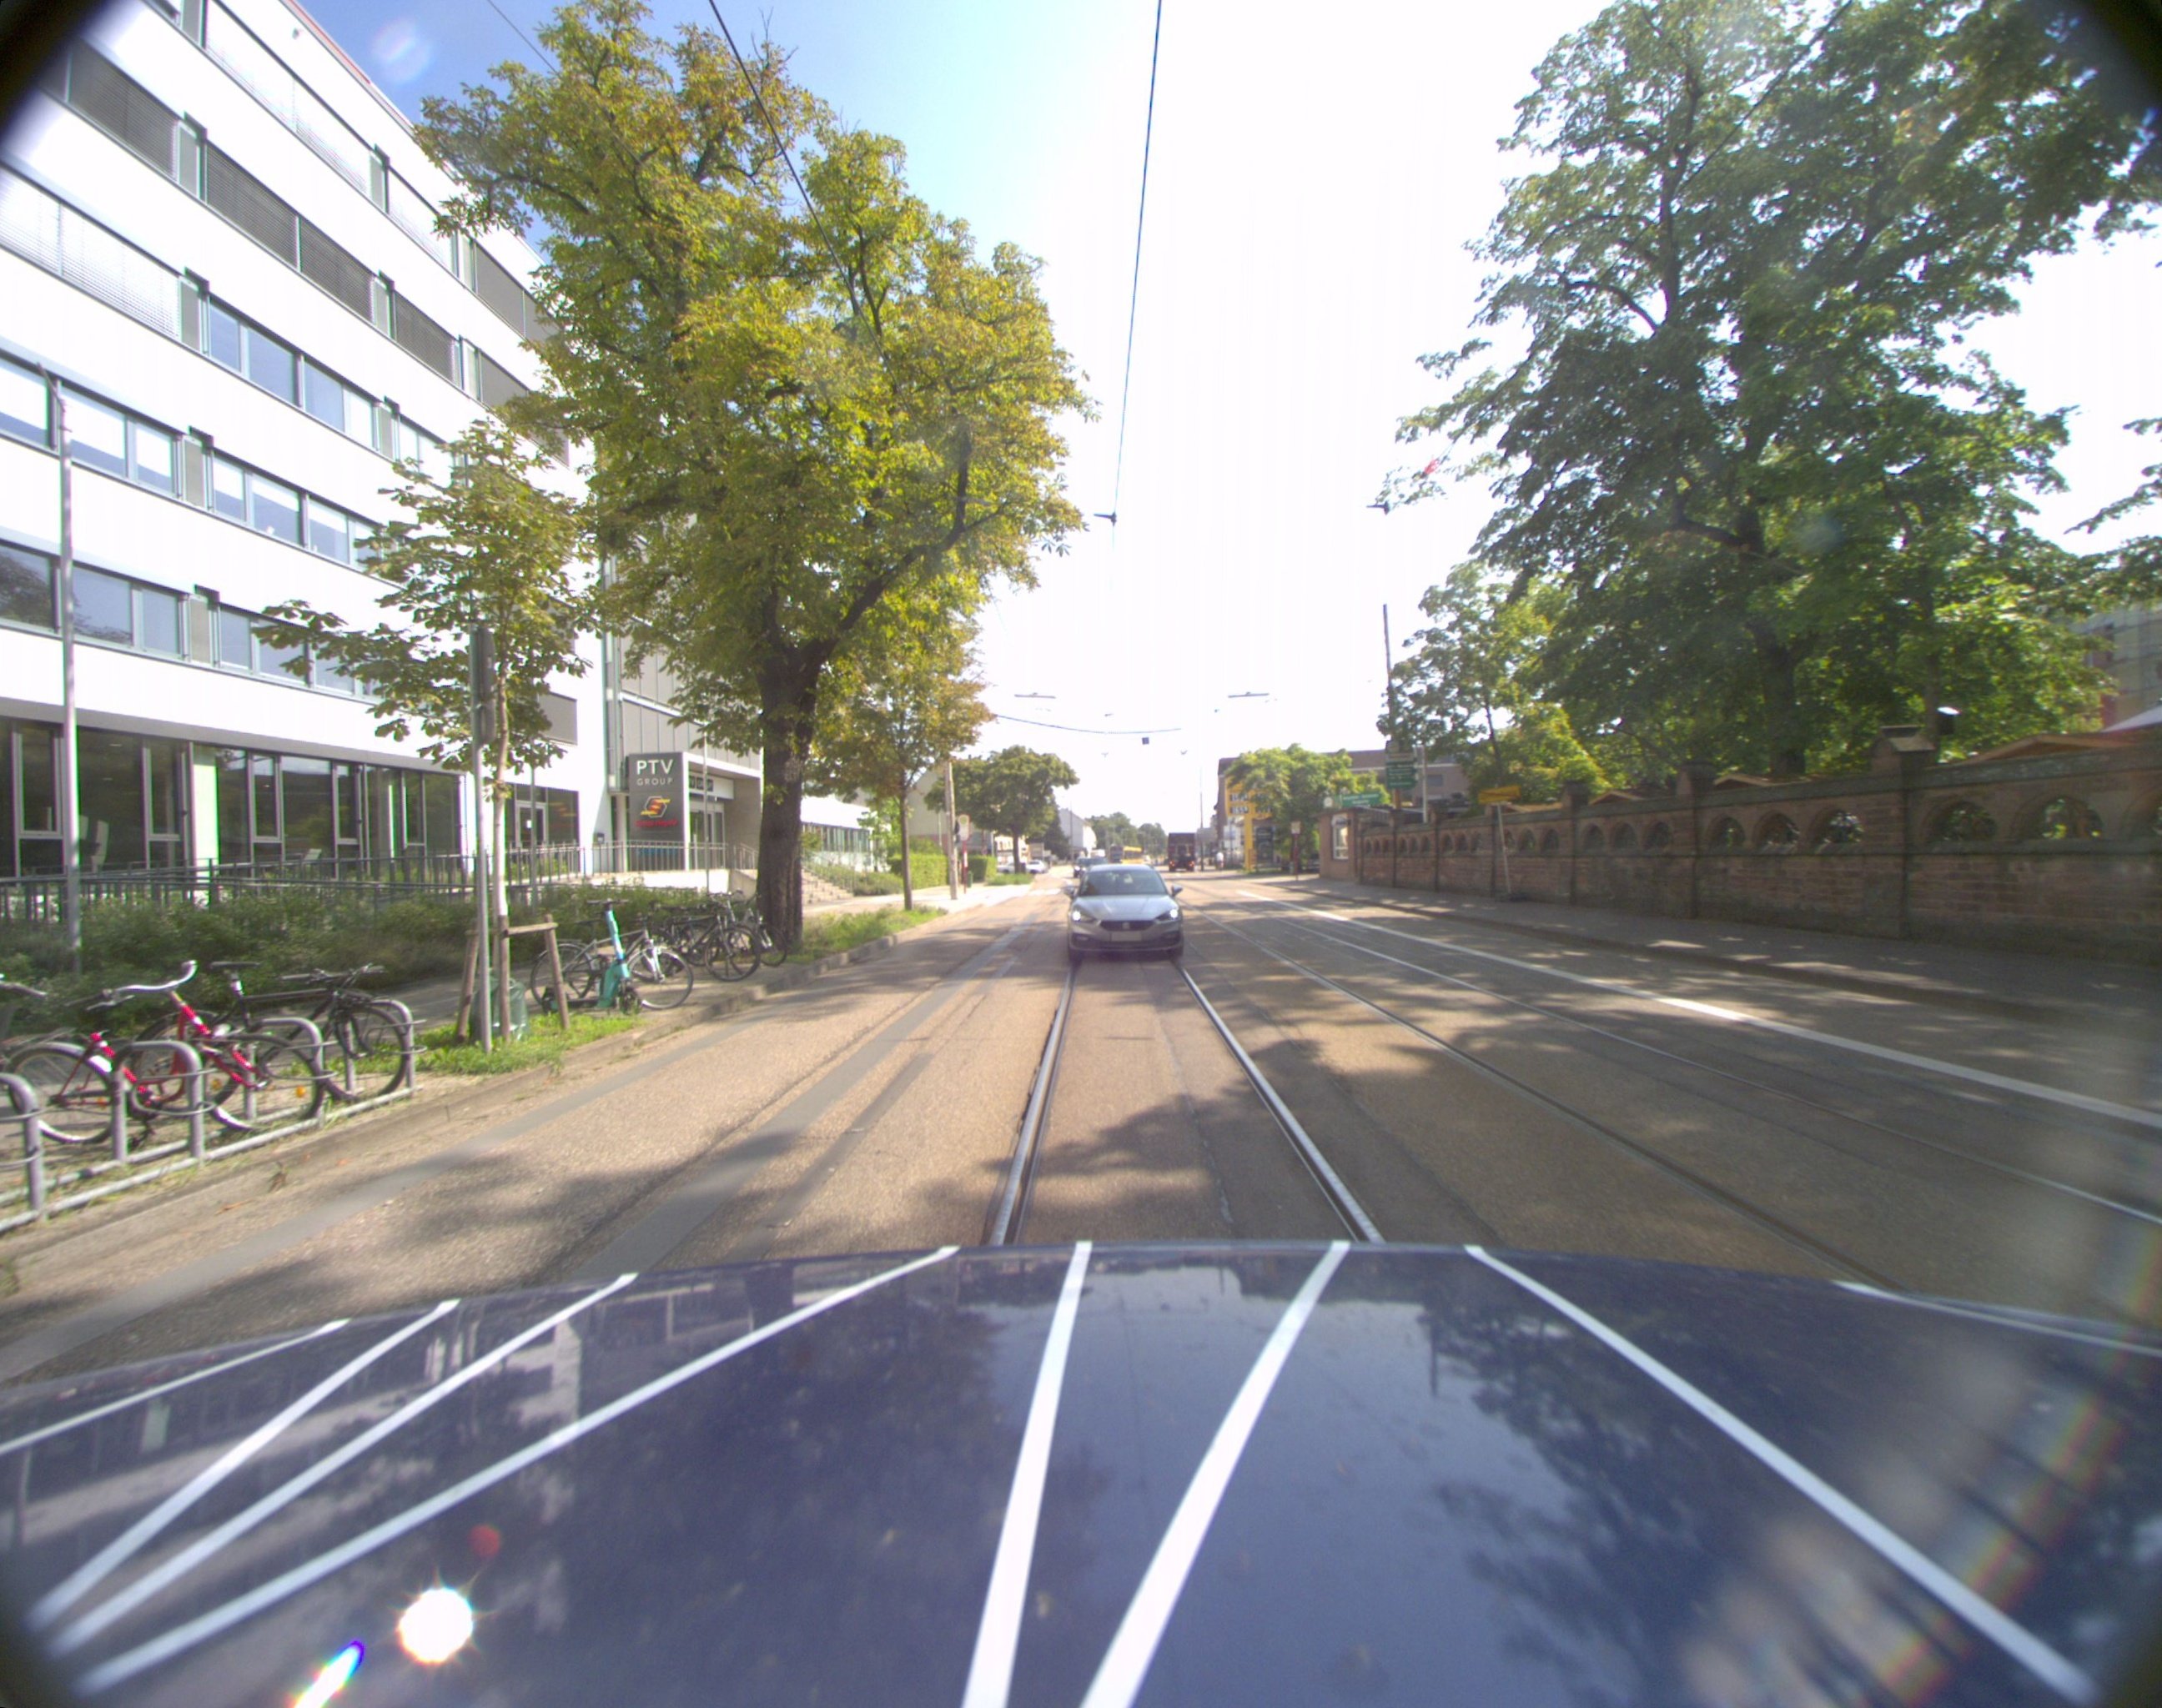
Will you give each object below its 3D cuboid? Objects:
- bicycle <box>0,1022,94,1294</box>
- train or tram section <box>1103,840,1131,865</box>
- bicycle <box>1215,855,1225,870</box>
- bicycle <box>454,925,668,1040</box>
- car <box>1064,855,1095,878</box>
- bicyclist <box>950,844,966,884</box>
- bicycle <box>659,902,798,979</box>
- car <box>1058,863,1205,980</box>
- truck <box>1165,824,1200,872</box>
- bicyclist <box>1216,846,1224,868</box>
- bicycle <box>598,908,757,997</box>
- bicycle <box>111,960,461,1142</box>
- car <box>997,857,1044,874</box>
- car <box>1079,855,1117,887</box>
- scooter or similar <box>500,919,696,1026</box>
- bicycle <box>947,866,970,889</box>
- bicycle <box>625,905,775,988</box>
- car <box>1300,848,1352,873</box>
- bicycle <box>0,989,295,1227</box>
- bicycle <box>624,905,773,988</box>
[{"bbox_3d":[-5.387,1.305,3.189,1.775,1.065,0.540,-1,1,1],"label":"bicycle"},{"bbox_3d":[6.208,-0.359,129.347,4.111,3.711,24.382,-2,0,3],"label":"train or tram section"},{"bbox_3d":[12.318,0.761,67.264,0.787,1.233,2.036,-2,0,13],"label":"bicycle"},{"bbox_3d":[-5.220,1.280,7.682,1.775,1.065,0.540,-1,1,1],"label":"bicycle"},{"bbox_3d":[-0.051,0.982,62.550,2.260,1.660,5.653,-2,0,2],"label":"car"},{"bbox_3d":[-6.440,0.518,39.850,0.783,2.002,1.273,-2,1,-9],"label":"bicyclist"},{"bbox_3d":[-5.173,1.262,11.200,1.775,1.065,0.540,-1,1,1],"label":"bicycle"},{"bbox_3d":[0.738,0.942,12.652,1.928,1.465,4.817,-2,0,1],"label":"car"},{"bbox_3d":[10.745,-0.647,80.162,3.171,4.427,16.849,-2,0,8],"label":"truck"},{"bbox_3d":[12.311,0.229,67.270,0.642,1.918,1.176,-2,1,13],"label":"bicyclist"},{"bbox_3d":[-5.229,1.270,9.904,1.775,1.065,0.540,-1,1,1],"label":"bicycle"},{"bbox_3d":[-5.276,1.293,5.100,1.775,1.065,0.540,-1,1,1],"label":"bicycle"},{"bbox_3d":[-6.021,1.139,75.990,4.552,1.506,1.961,-2,0,-3],"label":"car"},{"bbox_3d":[0.912,0.853,40.318,1.834,1.543,4.033,-2,0,1],"label":"car"},{"bbox_3d":[-5.221,1.277,8.270,1.775,1.065,0.540,-1,1,1],"label":"scooter or similar"},{"bbox_3d":[-6.427,1.205,39.988,1.139,1.118,2.534,-2,0,-8],"label":"bicycle"},{"bbox_3d":[-5.242,1.268,10.506,1.775,1.065,0.540,-1,1,1],"label":"bicycle"},{"bbox_3d":[16.276,0.396,50.405,1.932,1.452,4.536,-2,0,36],"label":"car"},{"bbox_3d":[-5.311,1.299,3.999,1.775,1.065,0.540,-1,1,1],"label":"bicycle"},{"bbox_3d":[-5.253,1.268,10.484,1.775,1.065,0.540,-1,1,1],"label":"bicycle"}]
